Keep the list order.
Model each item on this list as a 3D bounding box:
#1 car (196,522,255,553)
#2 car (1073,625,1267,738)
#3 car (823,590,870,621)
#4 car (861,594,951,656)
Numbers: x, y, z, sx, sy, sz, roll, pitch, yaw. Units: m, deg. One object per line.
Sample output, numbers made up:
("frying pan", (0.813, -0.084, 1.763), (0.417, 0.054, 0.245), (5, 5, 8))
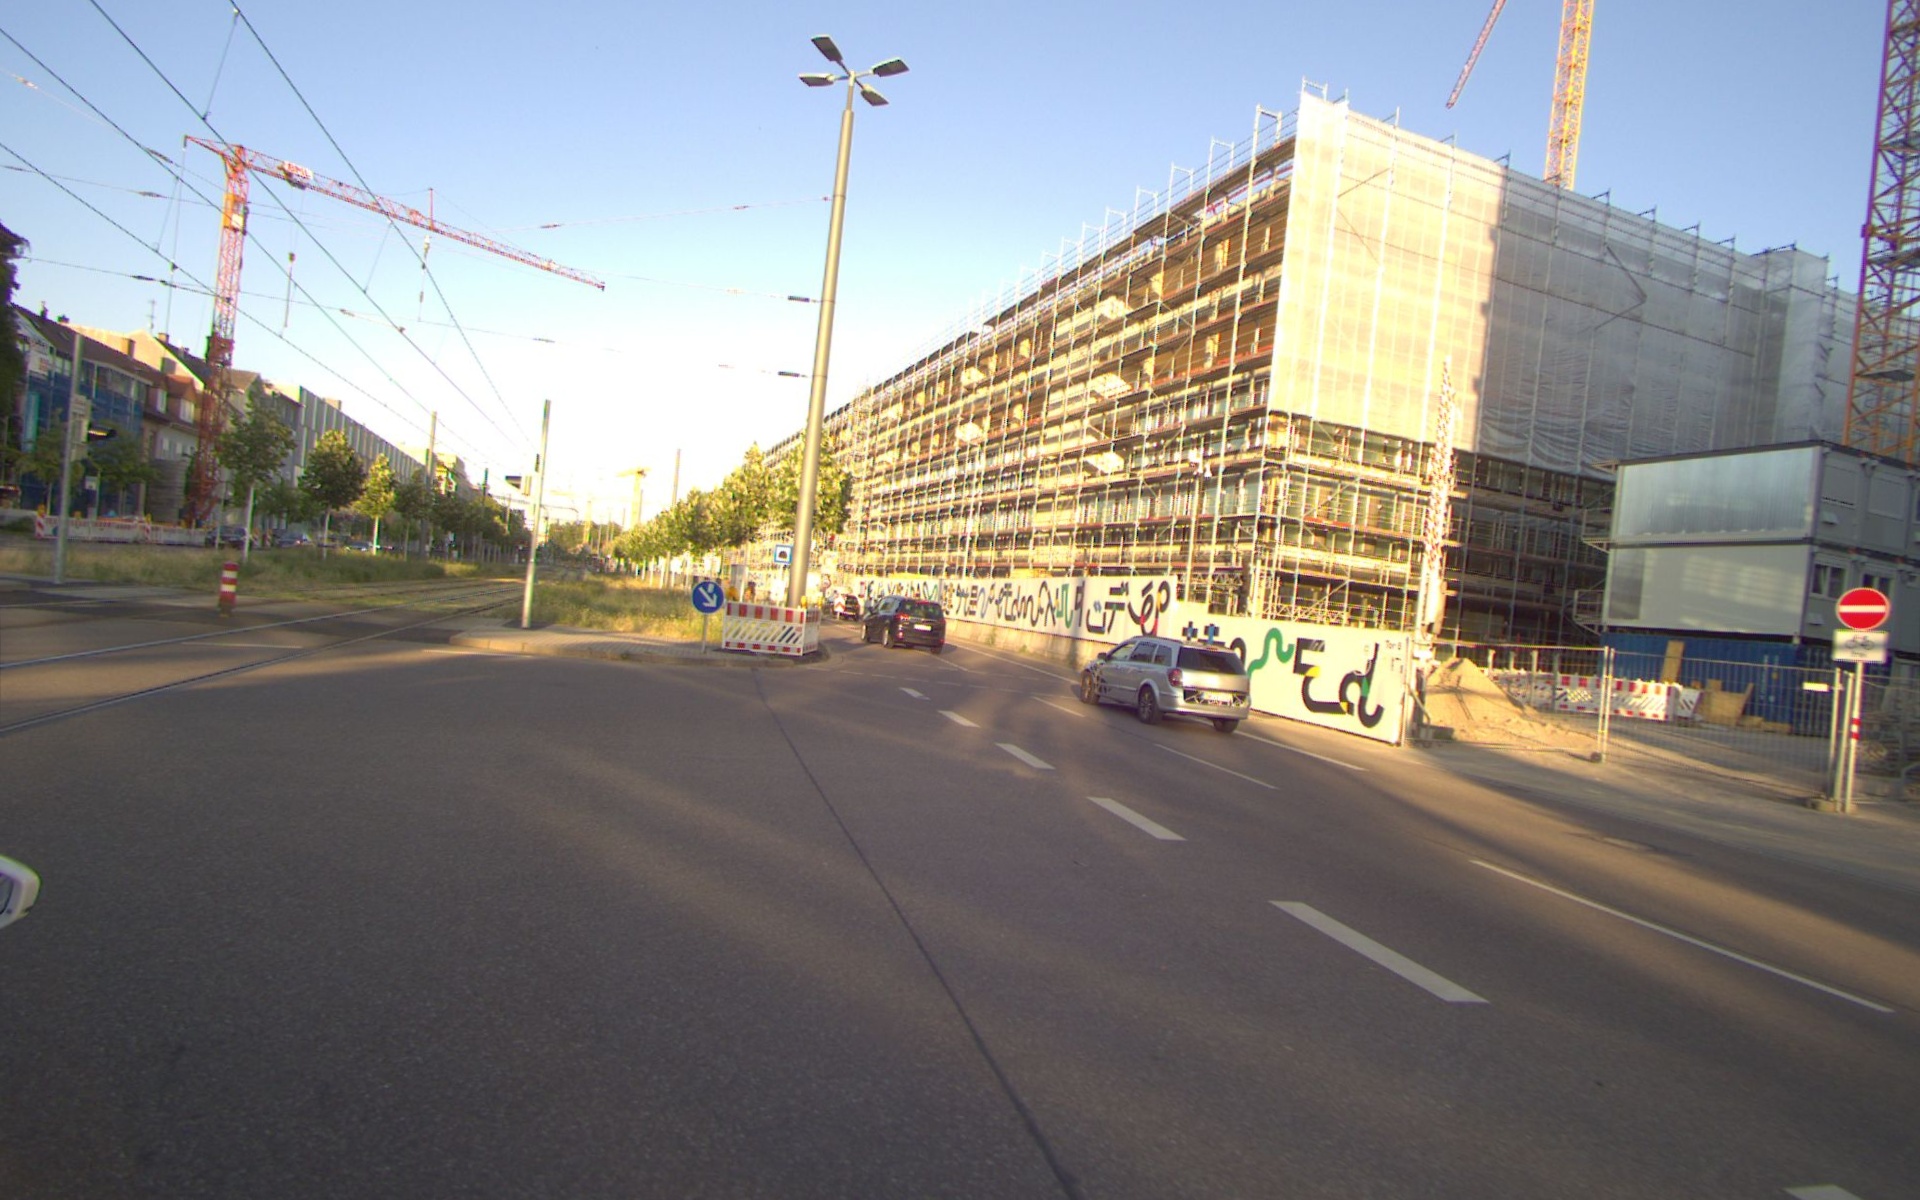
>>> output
("car", (-44.152, -3.728, 60.533), (1.679, 1.618, 4.240), (5, 0, -20))
("car", (3.655, 1.391, 18.314), (1.643, 1.473, 4.055), (7, 0, -15))
("car", (-6.996, 0.311, 61.771), (1.970, 1.594, 3.984), (6, 0, -18))
("car", (-1.785, 0.726, 31.743), (1.760, 1.536, 4.053), (8, -1, -17))
